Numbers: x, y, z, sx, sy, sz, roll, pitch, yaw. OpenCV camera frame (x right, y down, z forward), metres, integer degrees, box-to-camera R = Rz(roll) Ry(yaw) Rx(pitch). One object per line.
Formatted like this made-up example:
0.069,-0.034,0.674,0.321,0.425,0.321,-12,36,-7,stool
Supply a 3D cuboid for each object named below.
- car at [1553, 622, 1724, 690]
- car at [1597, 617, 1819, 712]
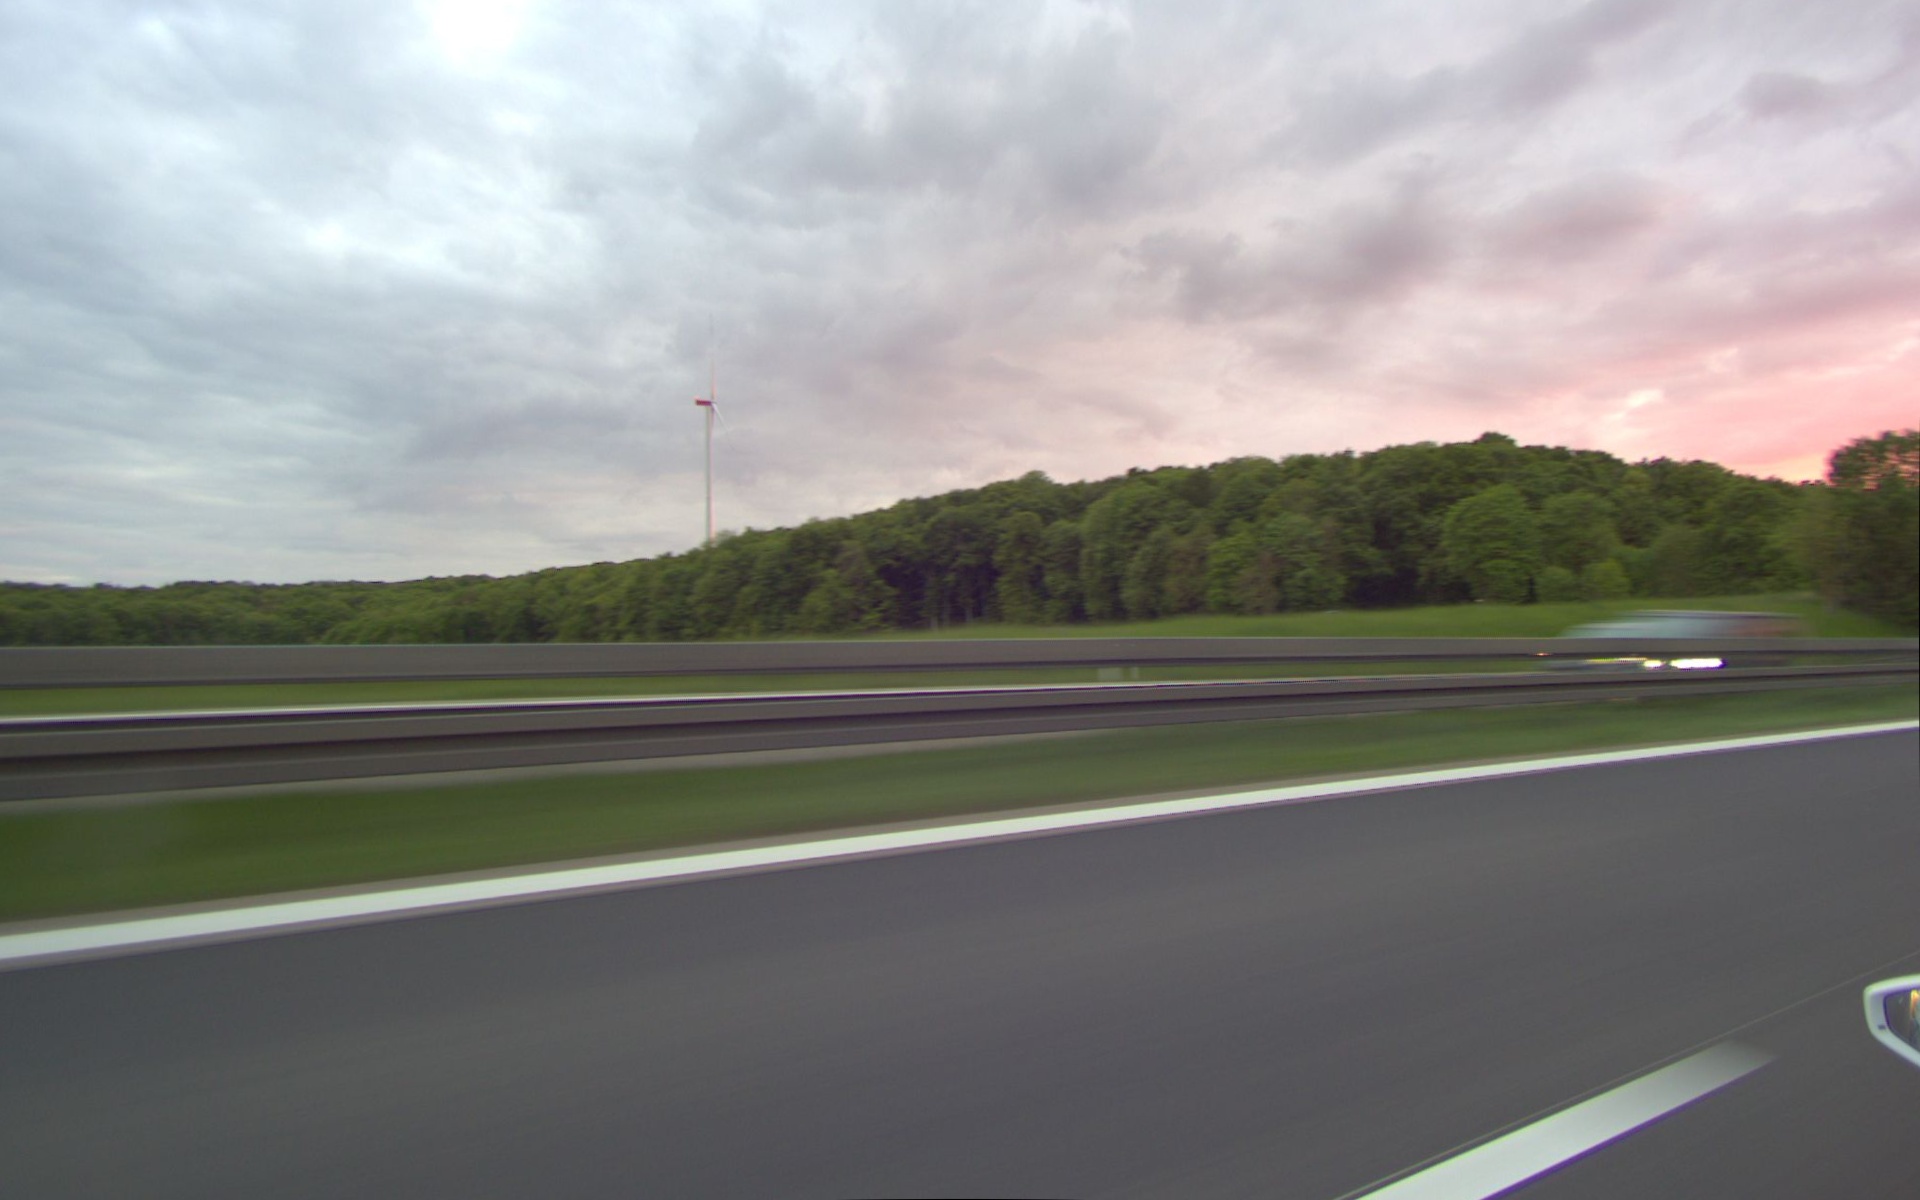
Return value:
18.200,1.447,26.913,4.615,1.681,2.016,1,-1,-30,car
16.537,1.349,22.153,5.070,1.897,2.093,1,-1,-30,car
